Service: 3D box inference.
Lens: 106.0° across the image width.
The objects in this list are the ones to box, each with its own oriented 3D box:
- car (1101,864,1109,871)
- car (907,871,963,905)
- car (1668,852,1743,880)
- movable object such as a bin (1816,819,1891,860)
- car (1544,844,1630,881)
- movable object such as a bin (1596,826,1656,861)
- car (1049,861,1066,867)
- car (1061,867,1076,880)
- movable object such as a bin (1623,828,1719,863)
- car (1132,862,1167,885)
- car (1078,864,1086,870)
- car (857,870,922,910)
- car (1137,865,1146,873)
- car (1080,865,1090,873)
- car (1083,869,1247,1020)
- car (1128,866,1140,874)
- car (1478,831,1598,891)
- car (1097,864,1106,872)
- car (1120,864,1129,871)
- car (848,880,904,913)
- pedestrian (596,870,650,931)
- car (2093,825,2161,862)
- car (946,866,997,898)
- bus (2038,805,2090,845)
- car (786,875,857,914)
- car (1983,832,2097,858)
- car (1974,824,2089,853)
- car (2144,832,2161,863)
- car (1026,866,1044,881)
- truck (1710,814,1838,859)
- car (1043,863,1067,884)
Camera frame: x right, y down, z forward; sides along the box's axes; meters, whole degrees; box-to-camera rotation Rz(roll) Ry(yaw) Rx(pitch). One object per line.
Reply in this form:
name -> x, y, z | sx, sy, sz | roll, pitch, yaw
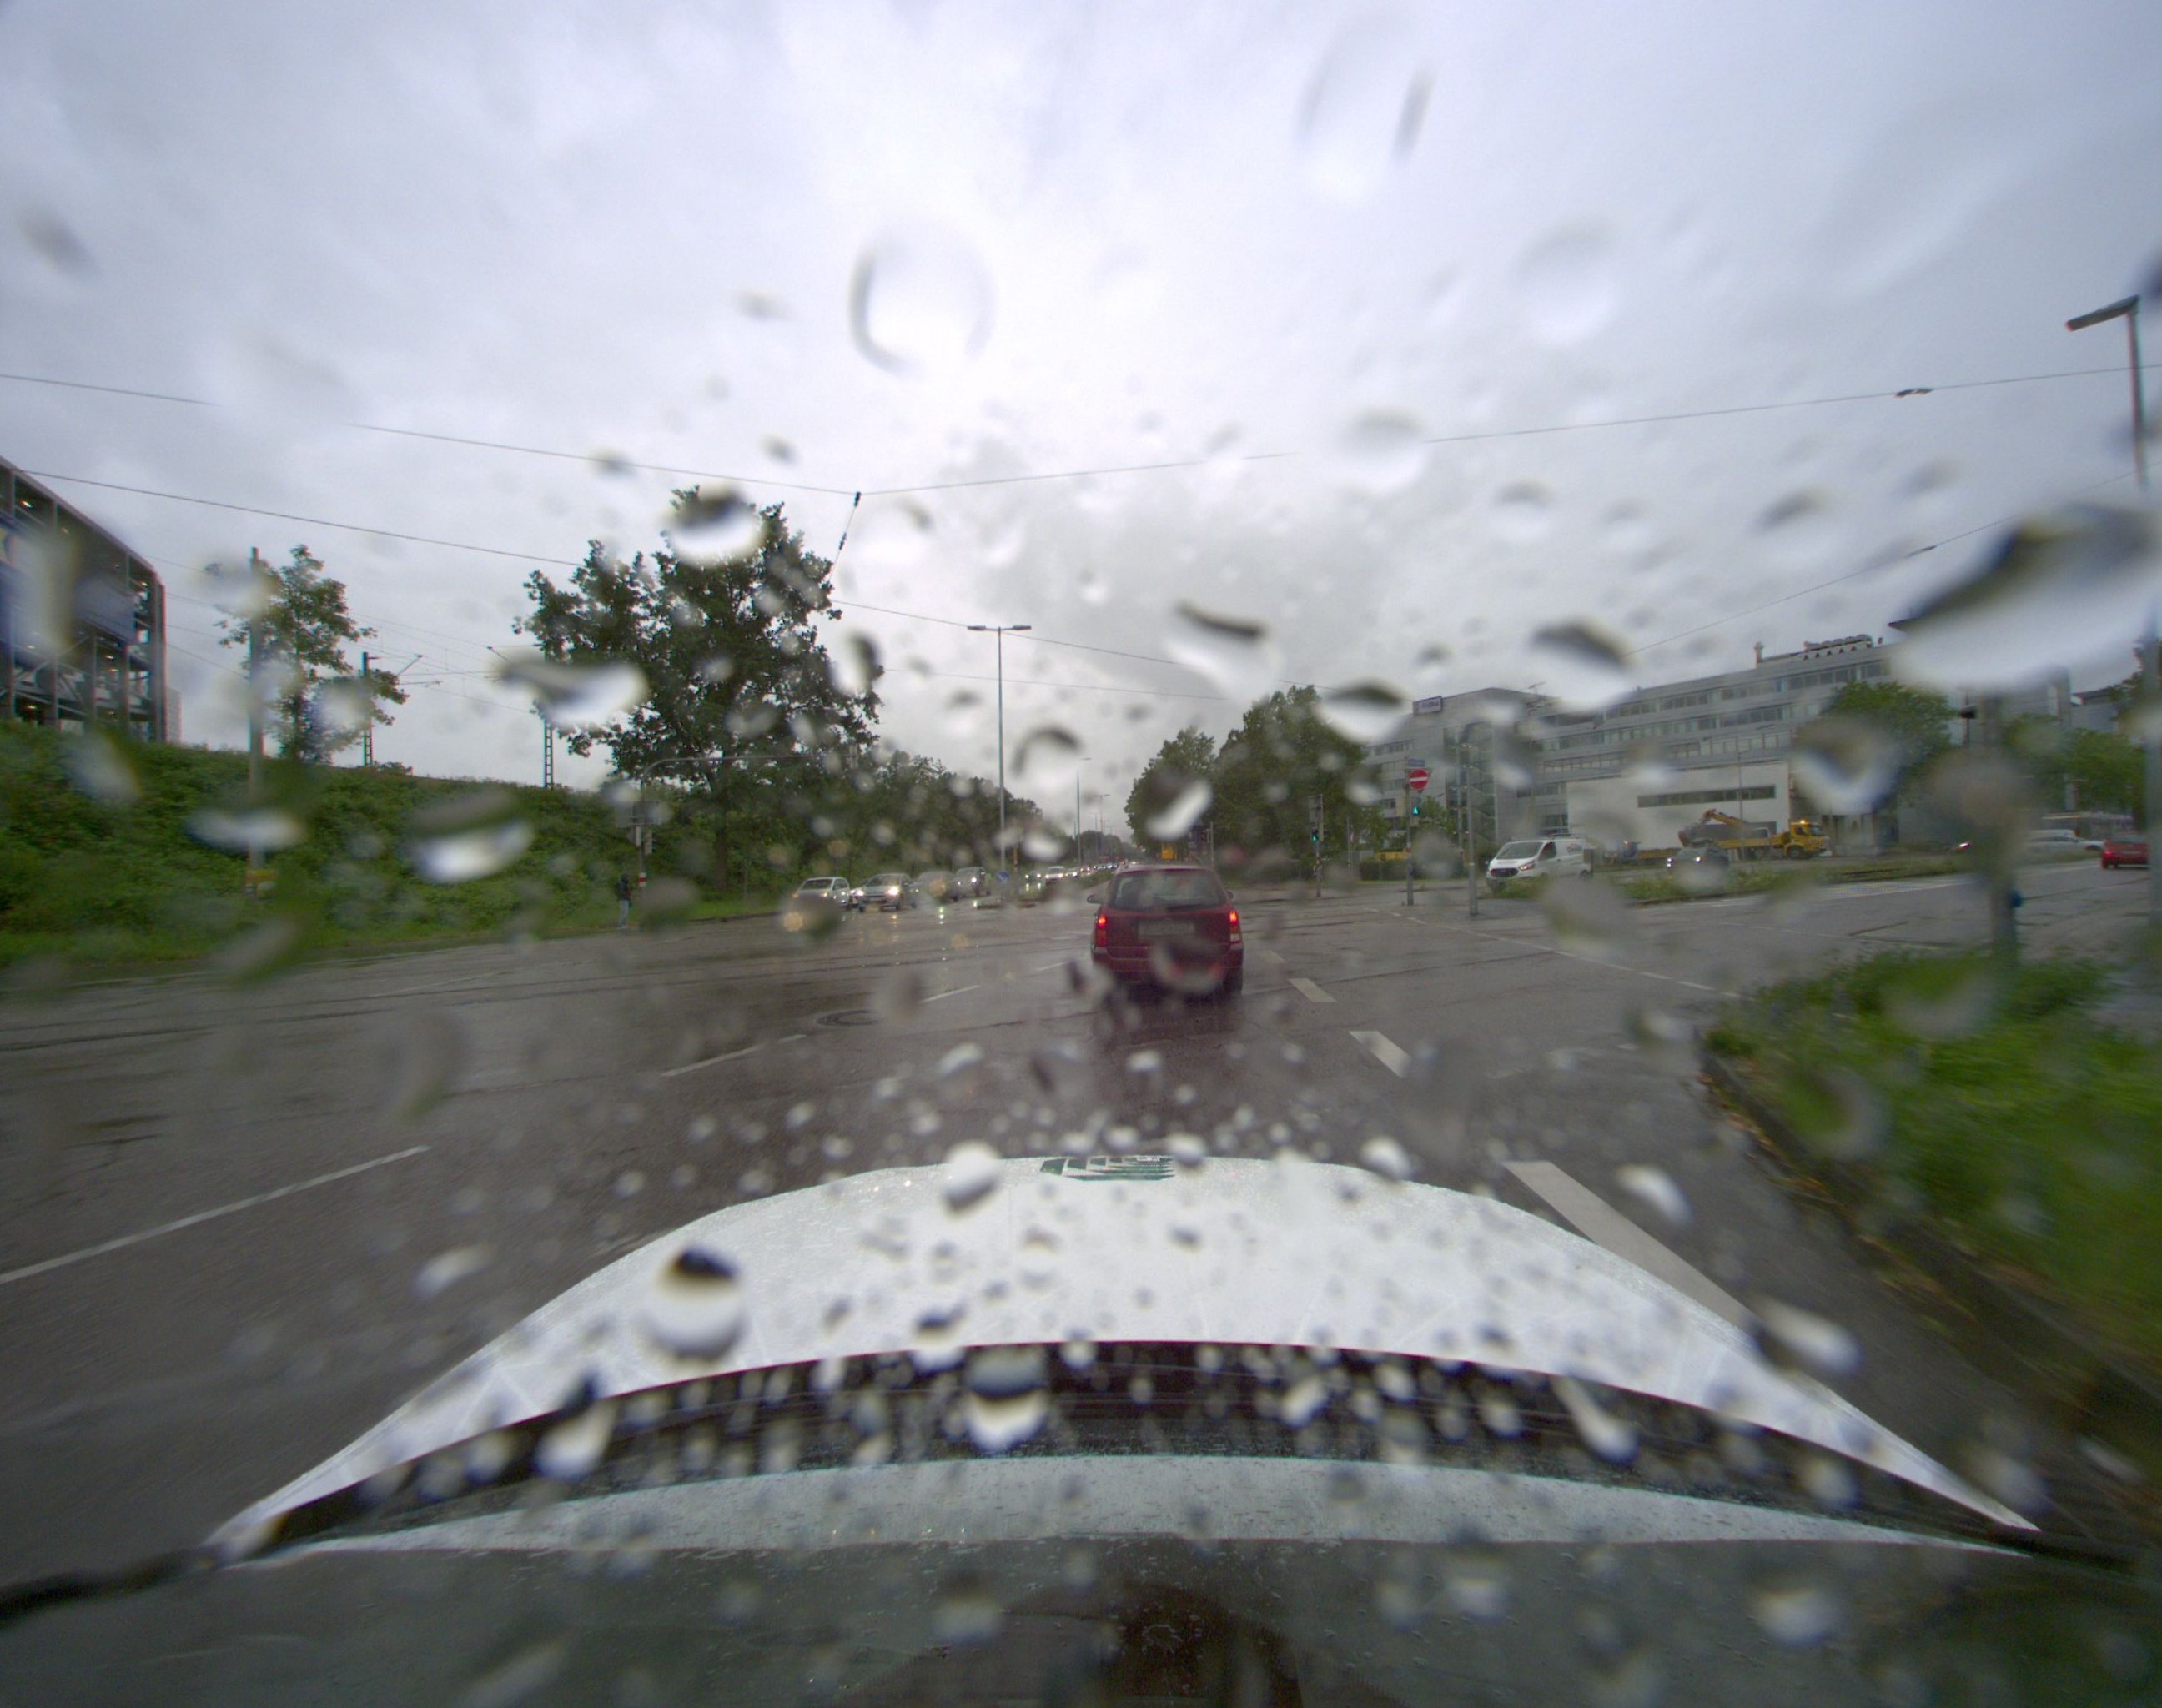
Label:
car -> 6.319, 3.567, 216.810 | 1.954, 1.597, 4.288 | -2, -1, 4
car -> -7.403, 1.708, 41.808 | 1.755, 1.586, 4.816 | -2, -2, 3
car -> 37.032, 0.694, 48.268 | 4.658, 1.524, 1.783 | -1, -1, -29
movable object such as a bin -> 69.634, -1.315, 73.400 | 6.343, 3.507, 3.295 | -2, -1, -31
car -> 24.328, 0.397, 39.100 | 4.398, 1.621, 1.758 | -1, -1, -33
movable object such as a bin -> 49.534, -0.963, 74.047 | 3.340, 2.996, 3.297 | -1, -1, -32
car -> -6.399, 2.724, 223.342 | 4.298, 1.597, 1.949 | -2, -1, -32
car -> -1.824, 2.856, 119.784 | 1.955, 1.702, 4.287 | -2, -1, 3
movable object such as a bin -> 56.762, -0.794, 78.465 | 3.340, 2.996, 6.653 | -1, -1, -32
car -> 5.263, 1.487, 62.850 | 1.735, 1.726, 4.230 | 0, -1, -9
car -> 0.171, 3.515, 225.172 | 1.955, 1.597, 4.287 | -2, -1, 3
car -> -7.856, 1.442, 33.735 | 1.632, 1.473, 3.965 | -2, -1, 1
car -> 12.880, 3.170, 172.891 | 1.690, 1.528, 3.851 | -2, -1, 5
car -> 0.934, 3.206, 175.614 | 1.955, 1.597, 4.287 | -2, -1, 3
car -> 0.951, 0.934, 10.036 | 1.635, 1.465, 3.735 | 1, -1, 3
car -> 10.876, 3.291, 166.275 | 2.136, 1.528, 4.199 | -2, -1, 6
car -> 17.427, 0.242, 30.990 | 4.706, 2.125, 1.979 | -1, -2, -33
car -> 4.910, 3.285, 192.029 | 1.954, 1.597, 4.288 | -2, -1, 4
car -> 9.666, 3.015, 181.184 | 1.689, 1.528, 3.852 | -2, -1, 6
car -> -10.221, 2.099, 40.902 | 1.584, 1.404, 3.826 | -2, -1, 3
pedestrian -> -14.271, 1.430, 25.425 | 1.101, 1.847, 1.127 | -2, -1, -8
car -> 44.670, -0.422, 34.415 | 3.825, 1.491, 1.663 | 0, -1, -28
car -> -6.685, 1.688, 50.461 | 2.057, 1.819, 5.546 | -2, -1, 3
bus -> 82.851, -2.397, 68.579 | 8.571, 3.036, 2.499 | -1, -2, -39
car -> -10.917, 1.687, 34.552 | 1.632, 1.452, 3.789 | -2, -1, 2
car -> 68.990, -0.591, 58.677 | 1.885, 1.655, 5.015 | 1, -2, -27
car -> 71.589, -1.155, 61.475 | 5.295, 2.014, 2.012 | -1, -2, 38
car -> 55.140, -0.352, 40.622 | 4.844, 1.491, 1.909 | -1, -2, -30
car -> -5.695, 2.376, 100.512 | 1.736, 1.702, 4.287 | 1, -1, 3
truck -> 60.678, -1.488, 71.514 | 3.339, 3.507, 7.811 | -1, -1, -31
car -> -2.288, 1.730, 72.937 | 1.736, 1.702, 4.287 | -3, -1, 3
